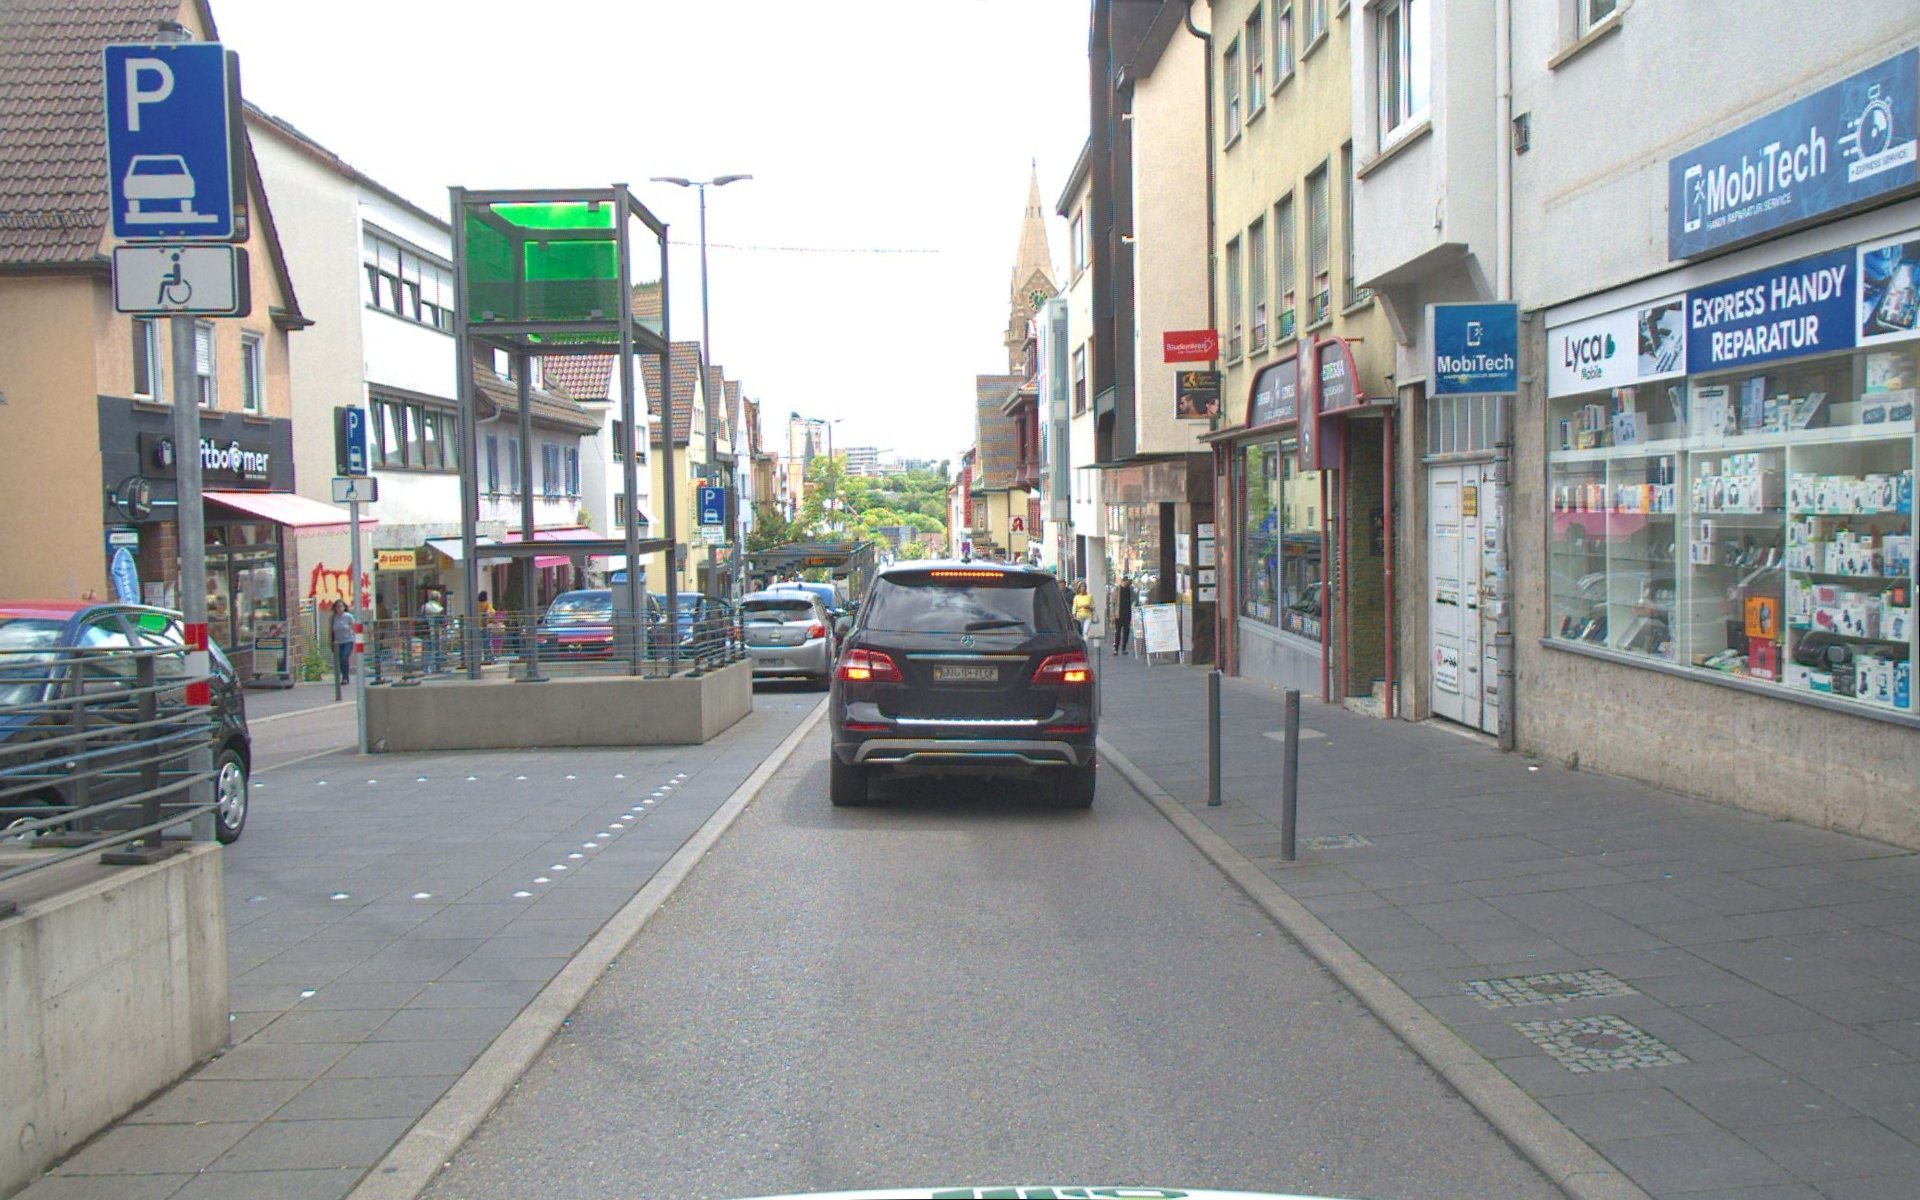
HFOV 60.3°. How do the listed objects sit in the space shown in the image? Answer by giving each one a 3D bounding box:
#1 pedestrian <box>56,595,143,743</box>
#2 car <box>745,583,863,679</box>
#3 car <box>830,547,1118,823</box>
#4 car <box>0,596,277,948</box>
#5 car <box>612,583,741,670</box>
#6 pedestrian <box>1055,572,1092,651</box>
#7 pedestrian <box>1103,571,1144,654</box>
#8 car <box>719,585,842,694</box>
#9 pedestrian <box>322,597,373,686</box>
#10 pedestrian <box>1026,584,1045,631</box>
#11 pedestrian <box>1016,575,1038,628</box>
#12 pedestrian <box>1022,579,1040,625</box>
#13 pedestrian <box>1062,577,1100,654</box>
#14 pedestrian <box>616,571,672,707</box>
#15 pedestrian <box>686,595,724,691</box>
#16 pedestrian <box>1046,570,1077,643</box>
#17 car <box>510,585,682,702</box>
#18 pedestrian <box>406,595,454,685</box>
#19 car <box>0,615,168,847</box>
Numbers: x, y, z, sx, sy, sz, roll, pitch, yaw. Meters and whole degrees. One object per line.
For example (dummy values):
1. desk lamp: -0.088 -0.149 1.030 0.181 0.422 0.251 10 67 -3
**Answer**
1. pedestrian: -10.201 0.802 19.623 0.626 1.718 0.827 0 0 -3
2. car: -2.878 0.543 31.396 1.917 1.668 4.313 1 0 -2
3. car: -0.009 0.553 12.791 1.863 1.777 3.997 1 0 -3
4. car: -4.985 0.737 8.556 1.538 1.501 3.852 0 0 -4
5. car: -5.361 0.464 31.678 1.703 1.501 3.885 1 1 1
6. pedestrian: 2.638 0.263 38.469 0.697 1.784 0.785 -3 0 -2
7. pedestrian: 3.505 0.269 35.461 0.650 1.718 0.542 -4 0 -8
8. car: -2.736 0.573 25.810 1.587 1.559 3.669 1 0 -2
9. pedestrian: -11.357 0.758 30.693 0.553 1.601 0.717 -3 0 7
10. pedestrian: 2.852 0.281 62.442 0.562 1.718 0.565 -2 0 -8
11. pedestrian: 2.183 0.045 54.233 0.609 1.718 0.565 1 0 -8
12. pedestrian: 2.718 0.081 63.191 0.562 1.718 0.565 1 0 -8
13. pedestrian: 2.667 0.342 36.615 0.697 1.659 0.835 -3 0 -2
14. pedestrian: -4.051 0.484 21.243 0.522 1.701 0.901 0 1 1
15. pedestrian: -3.973 0.657 25.785 0.457 1.456 0.492 -3 0 -2
16. pedestrian: 2.521 0.152 41.309 0.696 1.784 0.787 0 1 -2
17. car: -5.290 0.592 24.544 1.704 1.570 4.192 1 0 -2
18. pedestrian: -10.343 0.770 32.268 0.633 1.718 0.663 0 0 38
19. car: -7.636 0.943 12.235 1.645 1.598 4.121 1 0 -2
